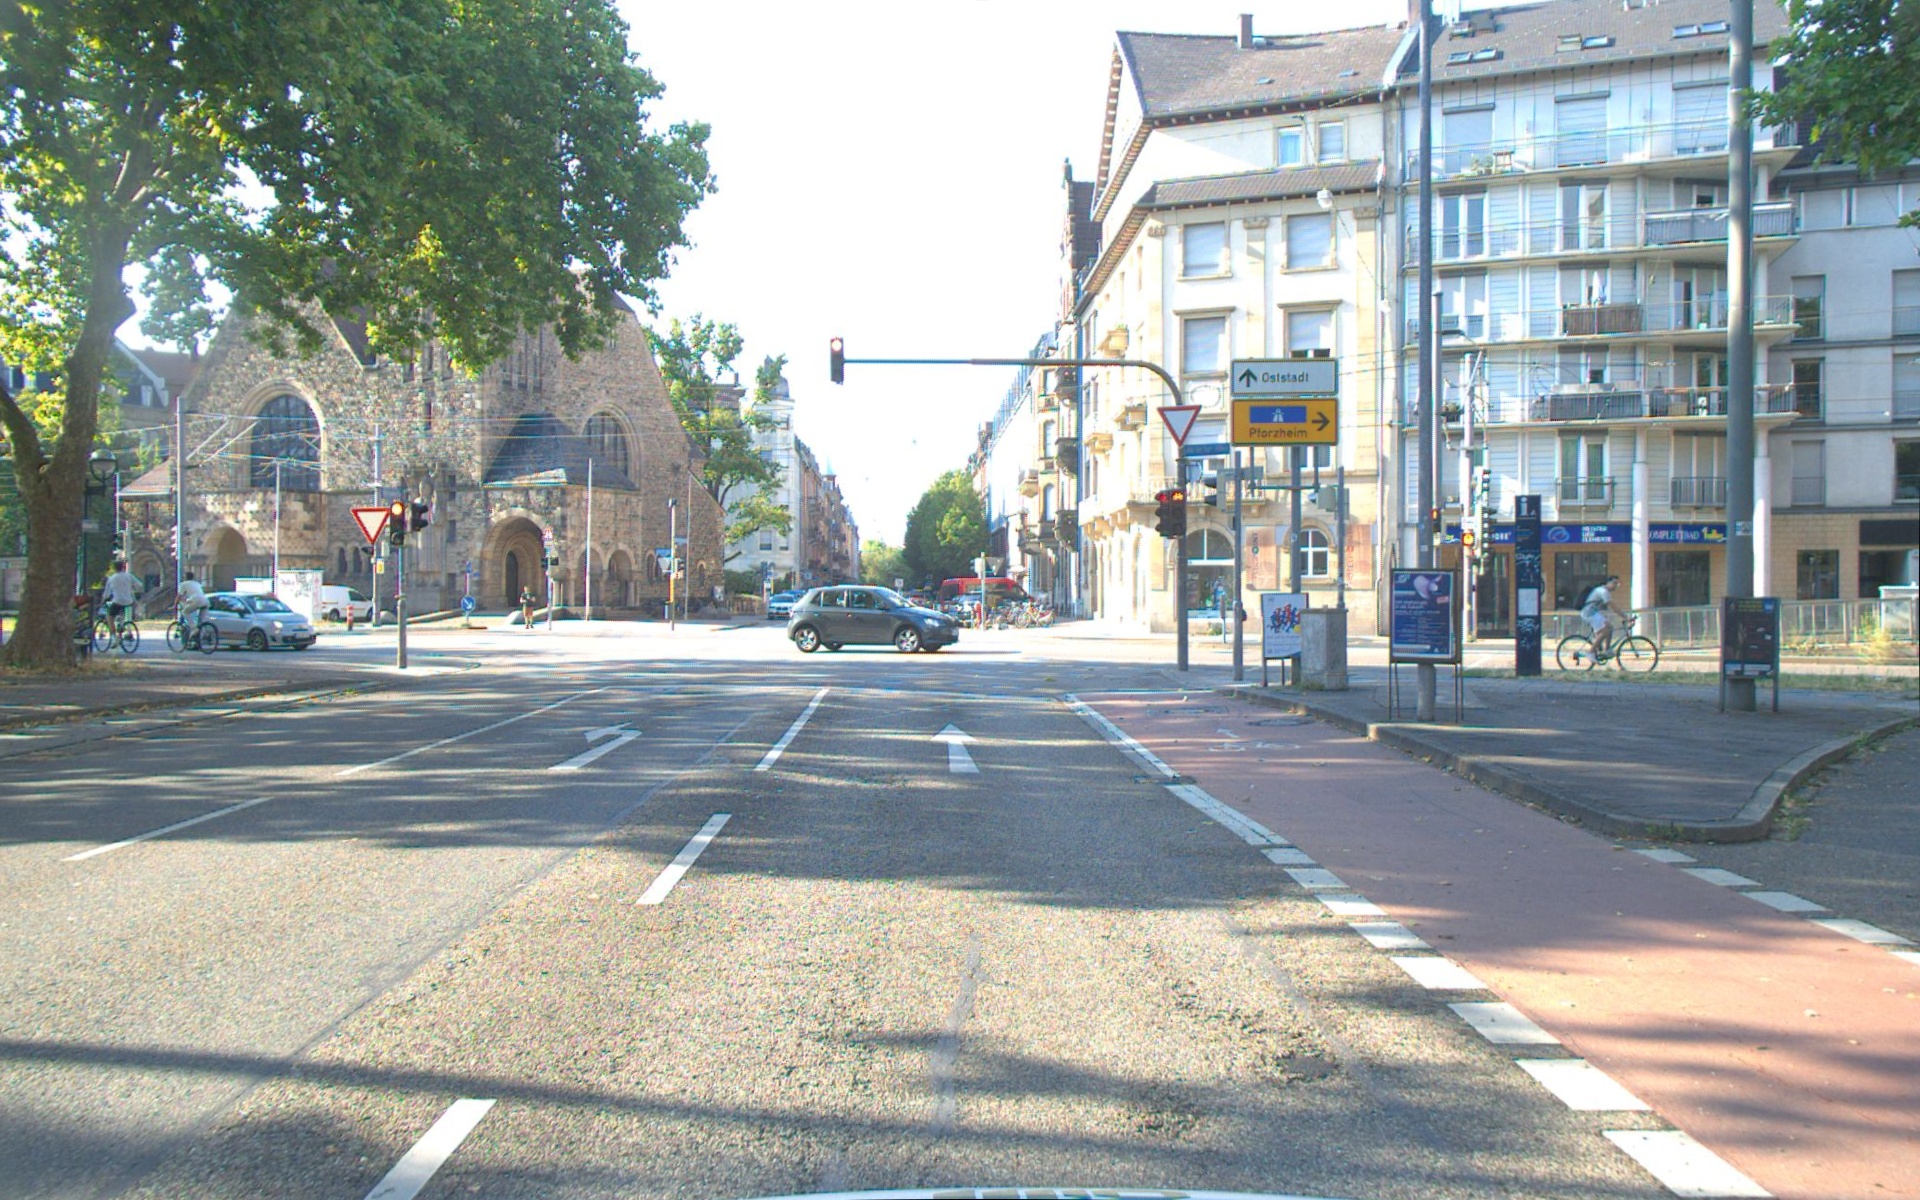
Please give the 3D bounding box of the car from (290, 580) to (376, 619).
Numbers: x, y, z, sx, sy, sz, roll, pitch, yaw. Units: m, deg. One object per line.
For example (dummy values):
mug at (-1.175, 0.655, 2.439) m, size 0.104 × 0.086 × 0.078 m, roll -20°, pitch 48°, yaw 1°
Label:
car at (-32.220, 0.013, 85.099) m, size 1.823 × 1.870 × 3.998 m, roll 2°, pitch 0°, yaw 23°

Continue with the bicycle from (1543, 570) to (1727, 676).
bicycle at (11.630, 0.384, 28.579) m, size 2.781 × 1.685 × 0.831 m, roll 2°, pitch 0°, yaw 10°

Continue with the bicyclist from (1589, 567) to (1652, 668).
bicyclist at (11.421, 0.299, 28.639) m, size 0.785 × 1.685 × 0.935 m, roll 2°, pitch 0°, yaw 10°

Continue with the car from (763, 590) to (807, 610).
car at (-11.241, 0.026, 106.424) m, size 1.560 × 1.164 × 3.385 m, roll 2°, pitch 0°, yaw 17°

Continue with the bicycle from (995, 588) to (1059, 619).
bicycle at (2.939, 0.154, 72.426) m, size 2.748 × 1.224 × 0.516 m, roll 2°, pitch -1°, yaw -5°

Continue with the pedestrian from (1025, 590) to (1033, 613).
pedestrian at (3.839, 0.083, 92.250) m, size 0.386 × 1.312 × 0.431 m, roll 2°, pitch -1°, yaw 3°

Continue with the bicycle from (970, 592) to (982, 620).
bicycle at (0.711, 0.272, 73.646) m, size 0.498 × 1.224 × 2.092 m, roll 2°, pitch 0°, yaw 0°

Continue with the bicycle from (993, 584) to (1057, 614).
bicycle at (2.855, -0.031, 73.011) m, size 2.748 × 1.224 × 0.509 m, roll 2°, pitch -1°, yaw -5°

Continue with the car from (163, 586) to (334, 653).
car at (-18.741, 0.505, 43.559) m, size 3.905 × 1.583 × 1.853 m, roll 2°, pitch 0°, yaw 21°

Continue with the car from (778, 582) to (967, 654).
car at (-1.953, 0.402, 37.116) m, size 3.845 × 1.421 × 1.653 m, roll 2°, pitch 0°, yaw 19°

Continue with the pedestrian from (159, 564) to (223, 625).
pedestrian at (-16.955, -0.118, 36.479) m, size 1.028 × 1.300 × 0.791 m, roll 2°, pitch -1°, yaw 28°

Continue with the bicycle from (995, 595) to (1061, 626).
bicycle at (2.951, 0.450, 71.816) m, size 2.748 × 1.224 × 0.516 m, roll 2°, pitch -1°, yaw -5°

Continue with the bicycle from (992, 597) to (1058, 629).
bicycle at (2.802, 0.554, 70.890) m, size 2.748 × 1.224 × 0.509 m, roll 2°, pitch -1°, yaw -5°

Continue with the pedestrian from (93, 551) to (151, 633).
pedestrian at (-18.154, -0.169, 35.832) m, size 0.973 × 1.738 × 0.627 m, roll 2°, pitch -1°, yaw 31°

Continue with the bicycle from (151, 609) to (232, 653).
bicycle at (-17.000, 0.681, 36.567) m, size 1.748 × 0.911 × 0.749 m, roll 1°, pitch 1°, yaw 29°

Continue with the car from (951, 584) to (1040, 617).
car at (1.888, 0.023, 87.337) m, size 4.378 × 1.564 × 1.853 m, roll 2°, pitch 0°, yaw -34°

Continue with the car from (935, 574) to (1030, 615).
car at (1.256, -0.272, 91.273) m, size 4.950 × 2.049 × 2.138 m, roll 2°, pitch 0°, yaw -37°

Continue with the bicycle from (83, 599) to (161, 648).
bicycle at (-18.228, 0.508, 35.955) m, size 1.751 × 0.999 × 0.655 m, roll 2°, pitch 0°, yaw 31°

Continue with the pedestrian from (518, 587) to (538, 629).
pedestrian at (-19.149, 0.361, 73.309) m, size 0.597 × 1.821 × 0.710 m, roll 2°, pitch -1°, yaw -1°
